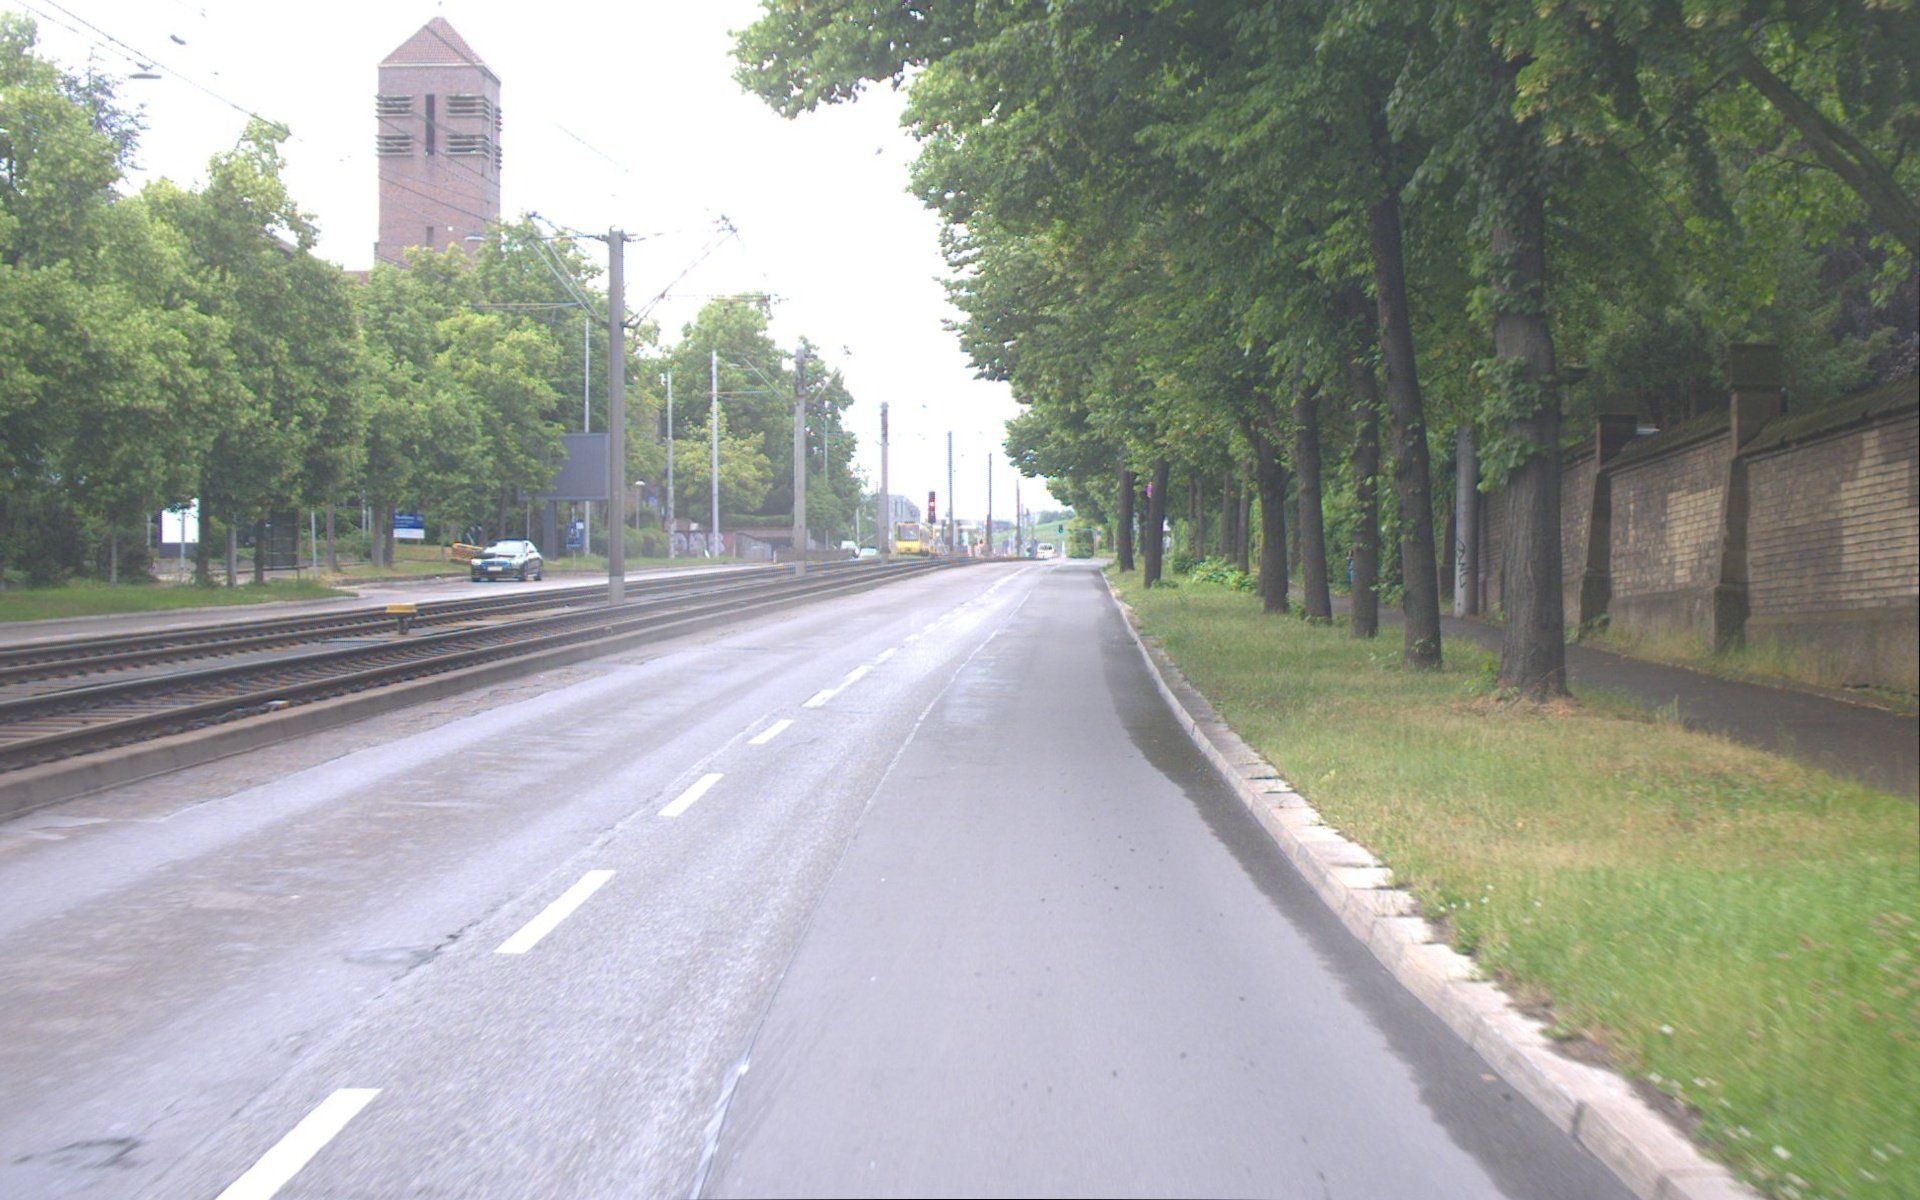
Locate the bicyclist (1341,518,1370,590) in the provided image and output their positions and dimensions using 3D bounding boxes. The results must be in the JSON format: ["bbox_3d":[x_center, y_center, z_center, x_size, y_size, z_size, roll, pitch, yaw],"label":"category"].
[{"bbox_3d":[7.727,-0.898,67.216,0.535,1.385,0.666,0,1,5],"label":"bicyclist"}]

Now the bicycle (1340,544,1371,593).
[{"bbox_3d":[7.717,-0.622,67.158,0.543,0.945,2.549,0,1,5],"label":"bicycle"}]

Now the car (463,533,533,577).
[{"bbox_3d":[-16.298,-1.588,121.559,1.794,1.525,4.622,0,1,1],"label":"car"}]
